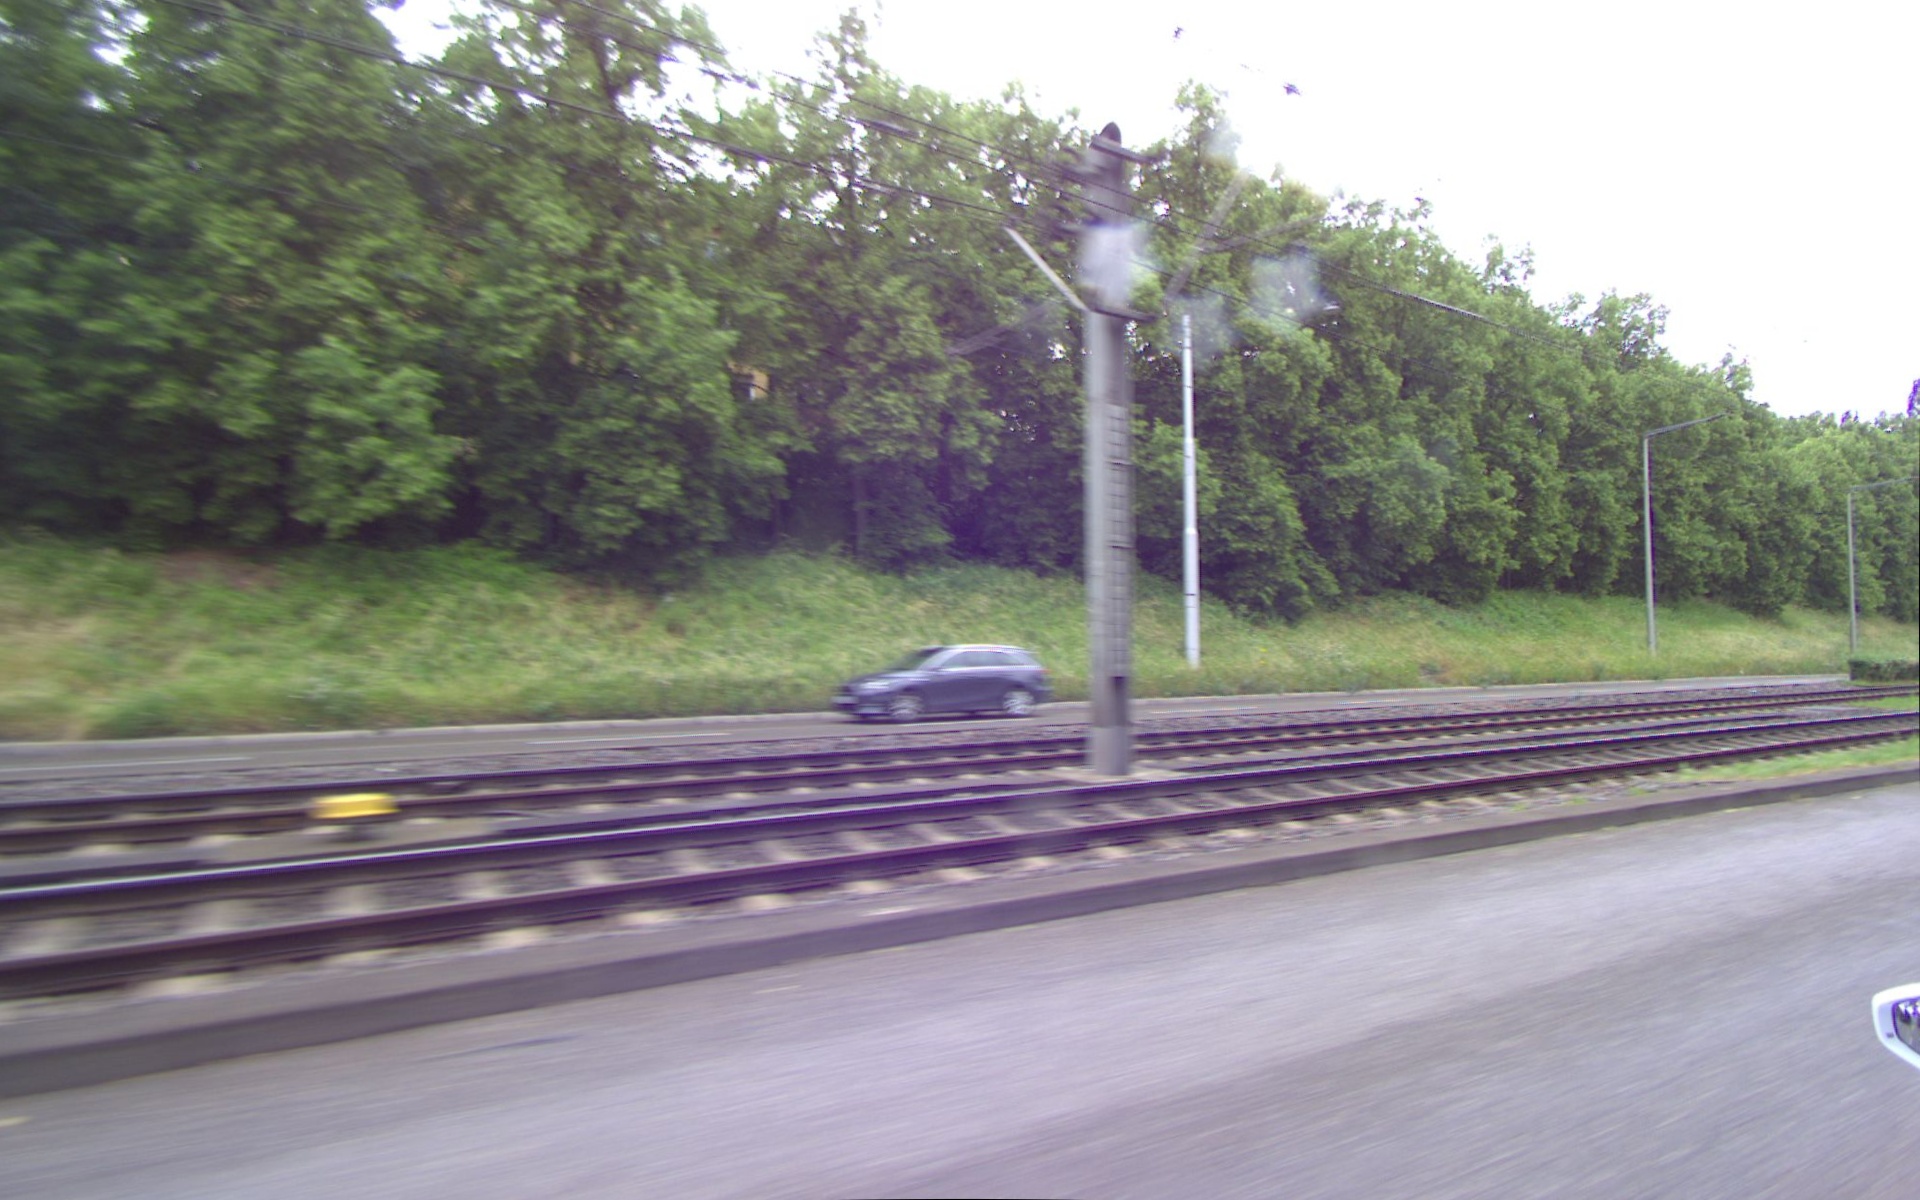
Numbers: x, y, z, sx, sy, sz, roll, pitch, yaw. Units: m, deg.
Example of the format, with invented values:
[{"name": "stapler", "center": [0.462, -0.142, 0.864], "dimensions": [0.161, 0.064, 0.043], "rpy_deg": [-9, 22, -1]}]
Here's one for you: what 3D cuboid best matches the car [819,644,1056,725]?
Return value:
[{"name": "car", "center": [-0.406, 1.634, 20.046], "dimensions": [4.385, 1.450, 1.982], "rpy_deg": [2, -4, -34]}]
